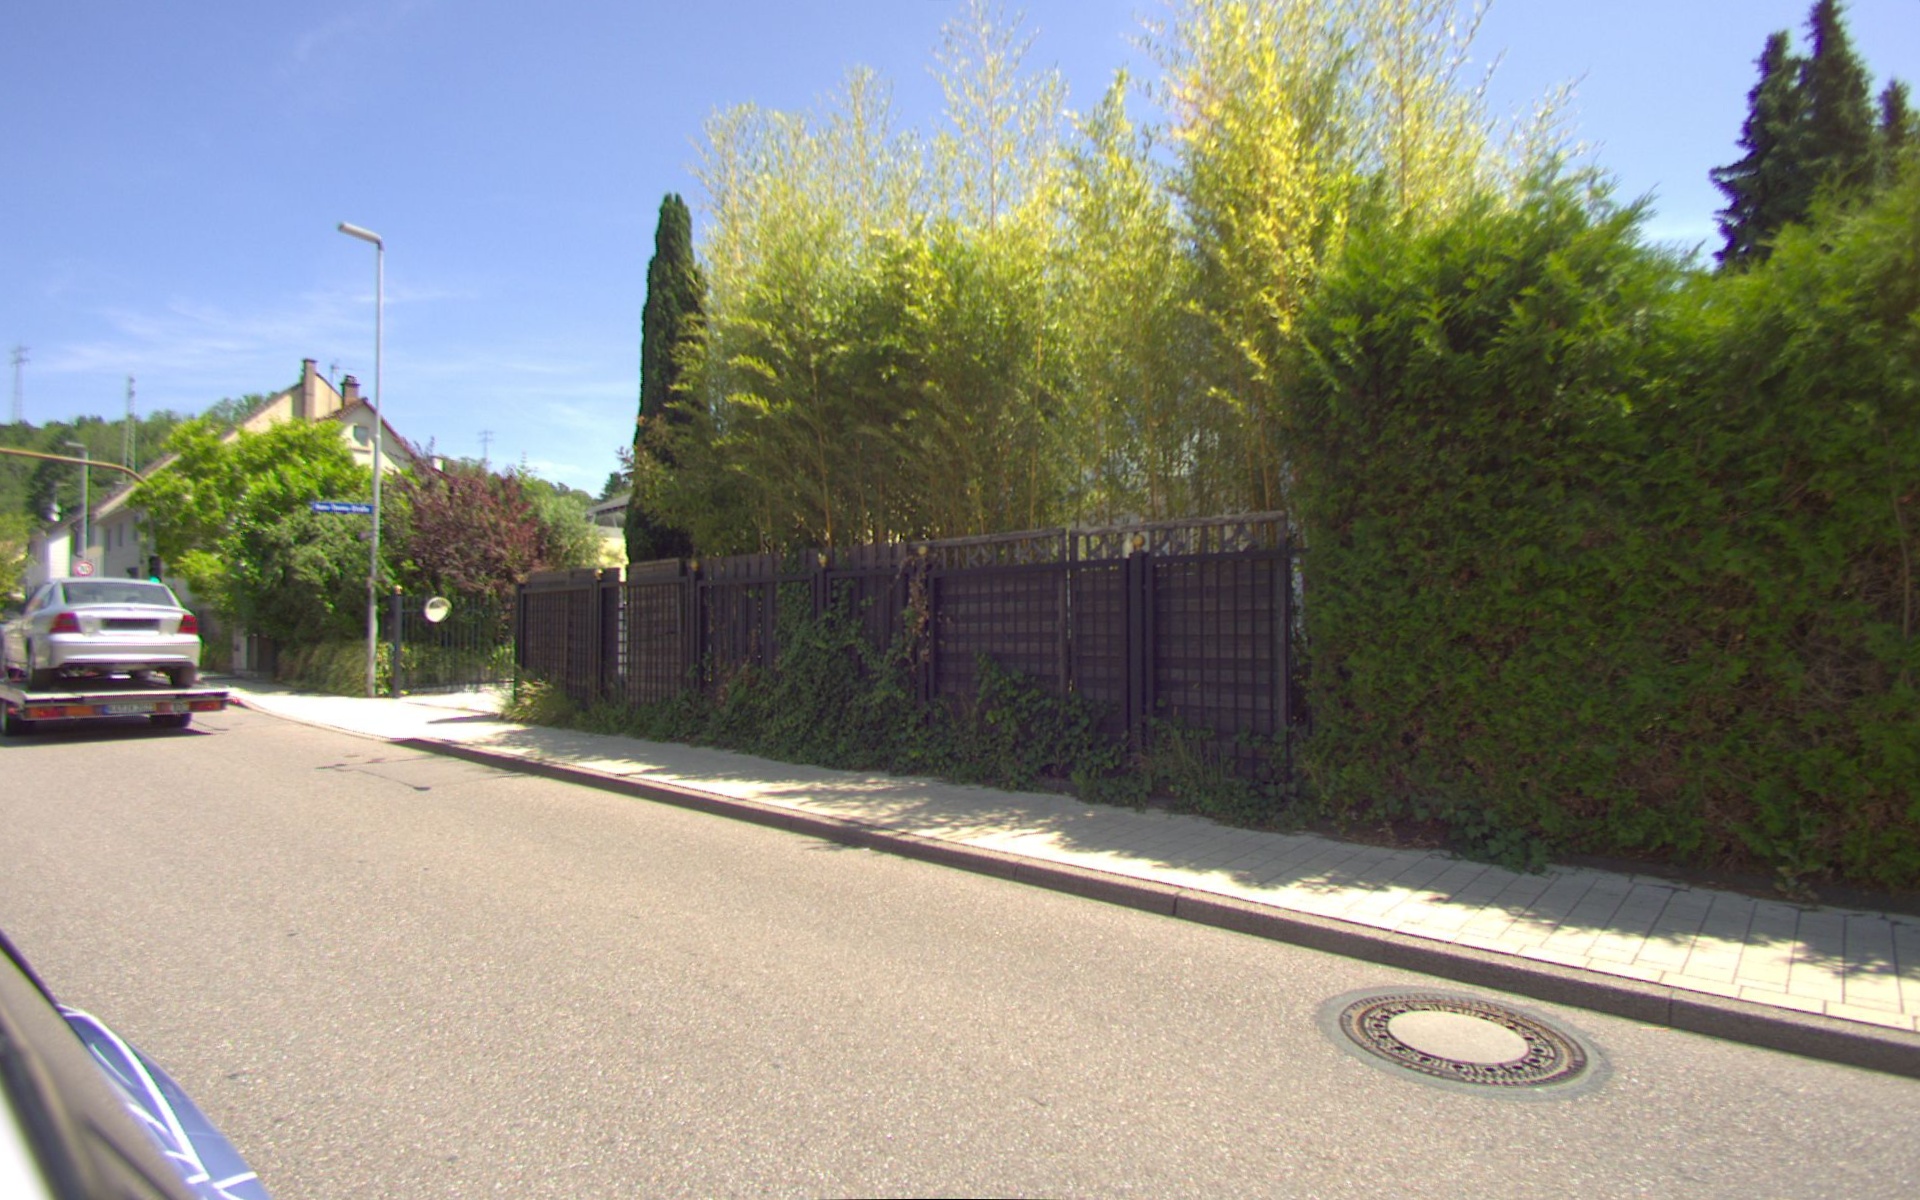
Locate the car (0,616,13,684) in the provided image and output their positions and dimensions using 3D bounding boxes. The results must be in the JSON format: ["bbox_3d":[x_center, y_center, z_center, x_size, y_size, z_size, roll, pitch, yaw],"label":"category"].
[{"bbox_3d":[-25.674,1.209,25.652,4.610,1.658,1.869,0,-3,40],"label":"car"}]

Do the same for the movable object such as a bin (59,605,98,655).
[{"bbox_3d":[-35.921,1.203,41.247,1.323,2.029,1.048,0,-1,42],"label":"movable object such as a bin"}]

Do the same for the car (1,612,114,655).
[{"bbox_3d":[-40.273,1.472,45.221,1.847,1.804,3.559,0,0,41],"label":"car"}]

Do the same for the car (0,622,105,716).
[{"bbox_3d":[-16.058,1.098,17.141,4.244,1.413,1.748,-1,-1,40],"label":"car"}]

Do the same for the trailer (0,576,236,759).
[{"bbox_3d":[-12.179,0.754,13.956,6.197,2.002,2.133,0,0,40],"label":"trailer"}]

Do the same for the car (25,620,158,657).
[{"bbox_3d":[-36.717,1.604,42.880,3.986,1.511,1.707,0,0,-9],"label":"car"}]
